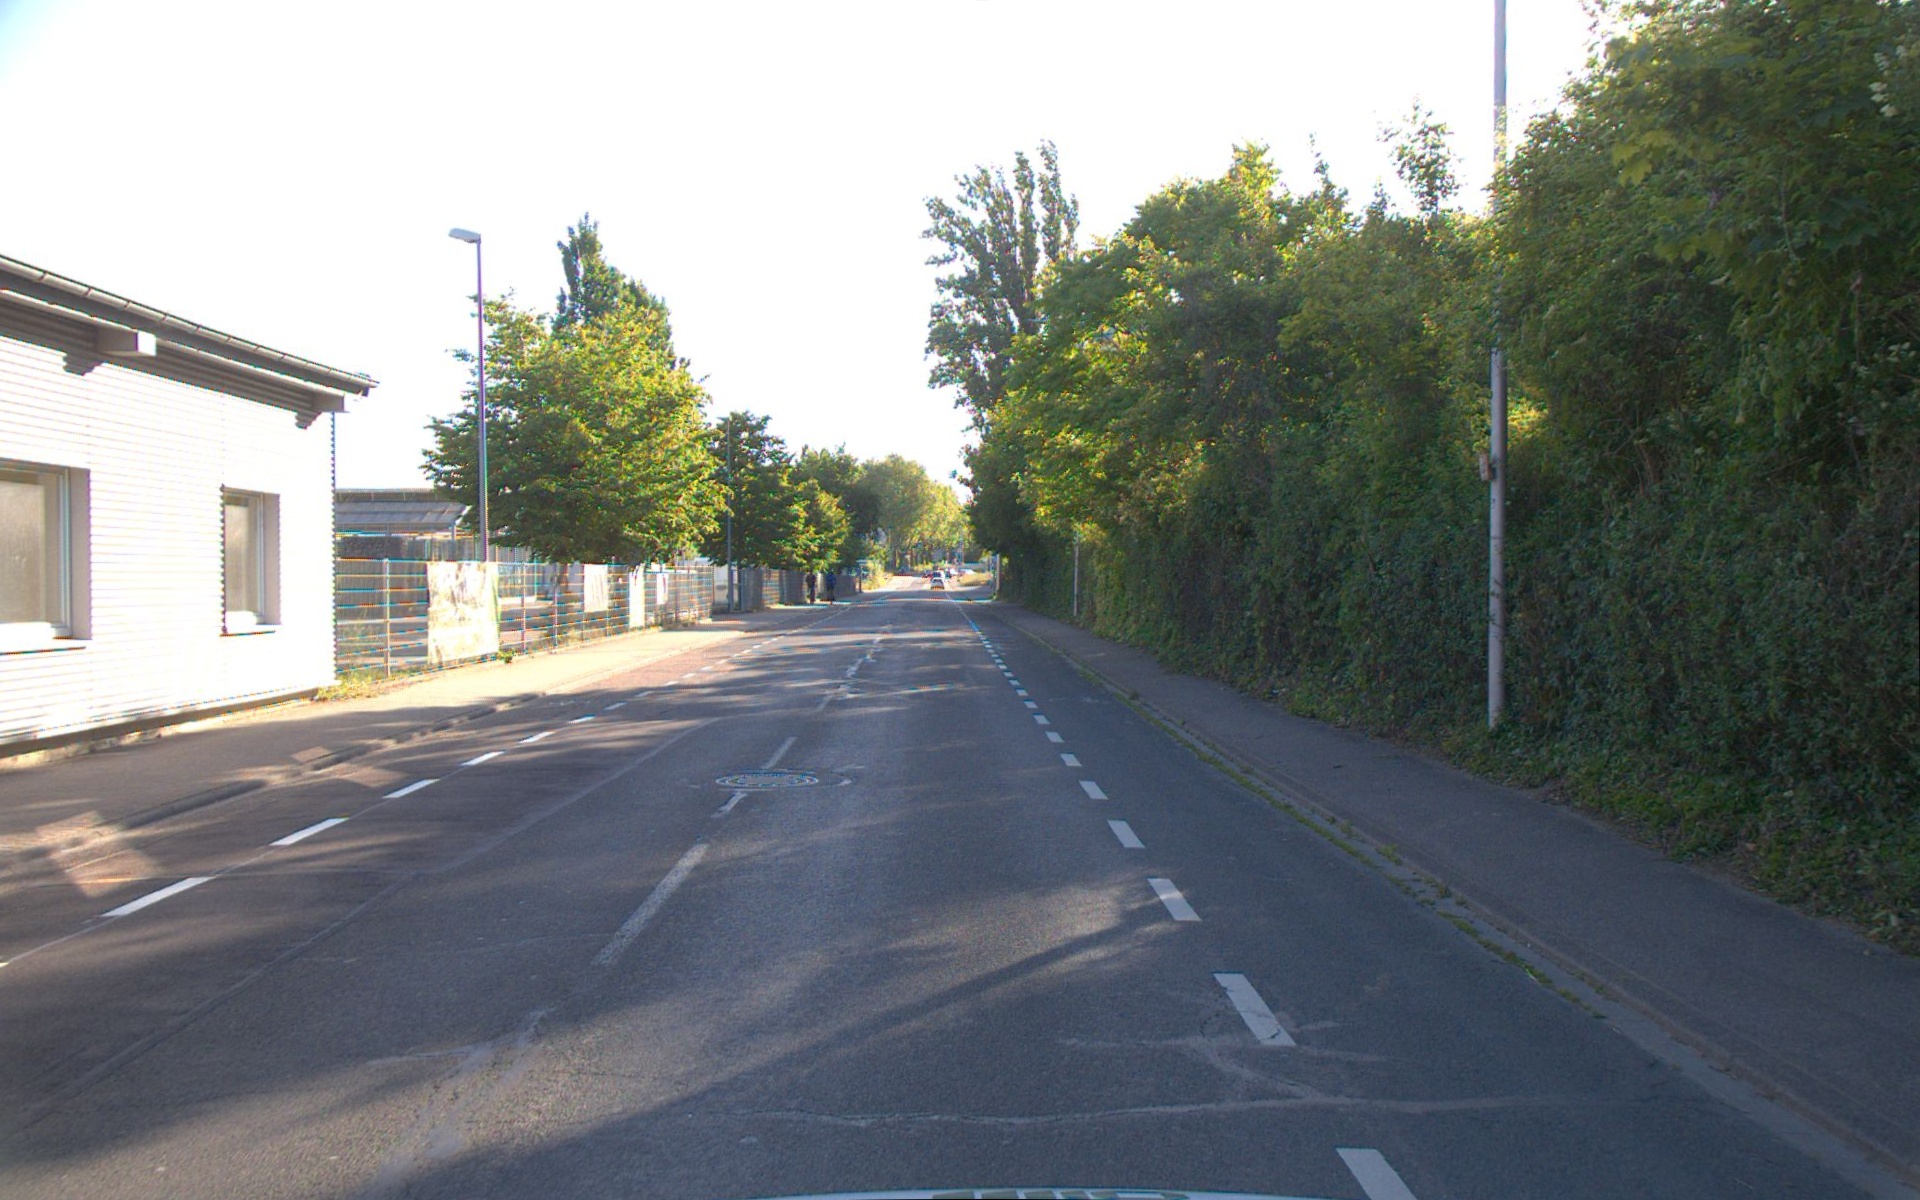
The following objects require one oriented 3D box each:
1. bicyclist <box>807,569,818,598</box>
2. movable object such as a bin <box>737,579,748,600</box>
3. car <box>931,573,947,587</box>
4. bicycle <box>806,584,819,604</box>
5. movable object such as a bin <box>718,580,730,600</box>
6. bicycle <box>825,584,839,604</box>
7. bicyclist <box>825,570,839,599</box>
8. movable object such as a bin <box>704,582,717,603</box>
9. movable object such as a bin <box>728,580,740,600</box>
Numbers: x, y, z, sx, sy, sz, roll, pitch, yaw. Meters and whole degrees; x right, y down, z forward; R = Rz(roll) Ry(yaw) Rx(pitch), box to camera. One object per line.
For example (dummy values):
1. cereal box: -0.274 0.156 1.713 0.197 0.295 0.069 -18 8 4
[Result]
1. bicyclist: -8.101 -0.896 90.984 0.548 1.560 0.689 1 1 -1
2. movable object such as a bin: -11.942 -0.579 90.821 0.453 1.095 1.570 0 1 -1
3. car: -2.693 -2.529 211.178 1.903 1.679 4.309 1 1 -1
4. bicycle: -8.119 -0.329 91.070 0.551 1.052 1.351 1 1 -1
5. movable object such as a bin: -12.980 -0.566 90.915 0.453 1.095 1.570 0 1 -1
6. bicycle: -6.977 -0.341 90.218 0.675 1.052 1.351 1 1 -1
7. bicyclist: -6.966 -0.826 90.206 0.675 1.558 0.722 1 1 -1
8. movable object such as a bin: -13.701 -0.411 90.825 0.453 1.095 1.570 0 1 -1
9. movable object such as a bin: -12.448 -0.573 90.990 0.453 1.095 1.570 0 1 -1
